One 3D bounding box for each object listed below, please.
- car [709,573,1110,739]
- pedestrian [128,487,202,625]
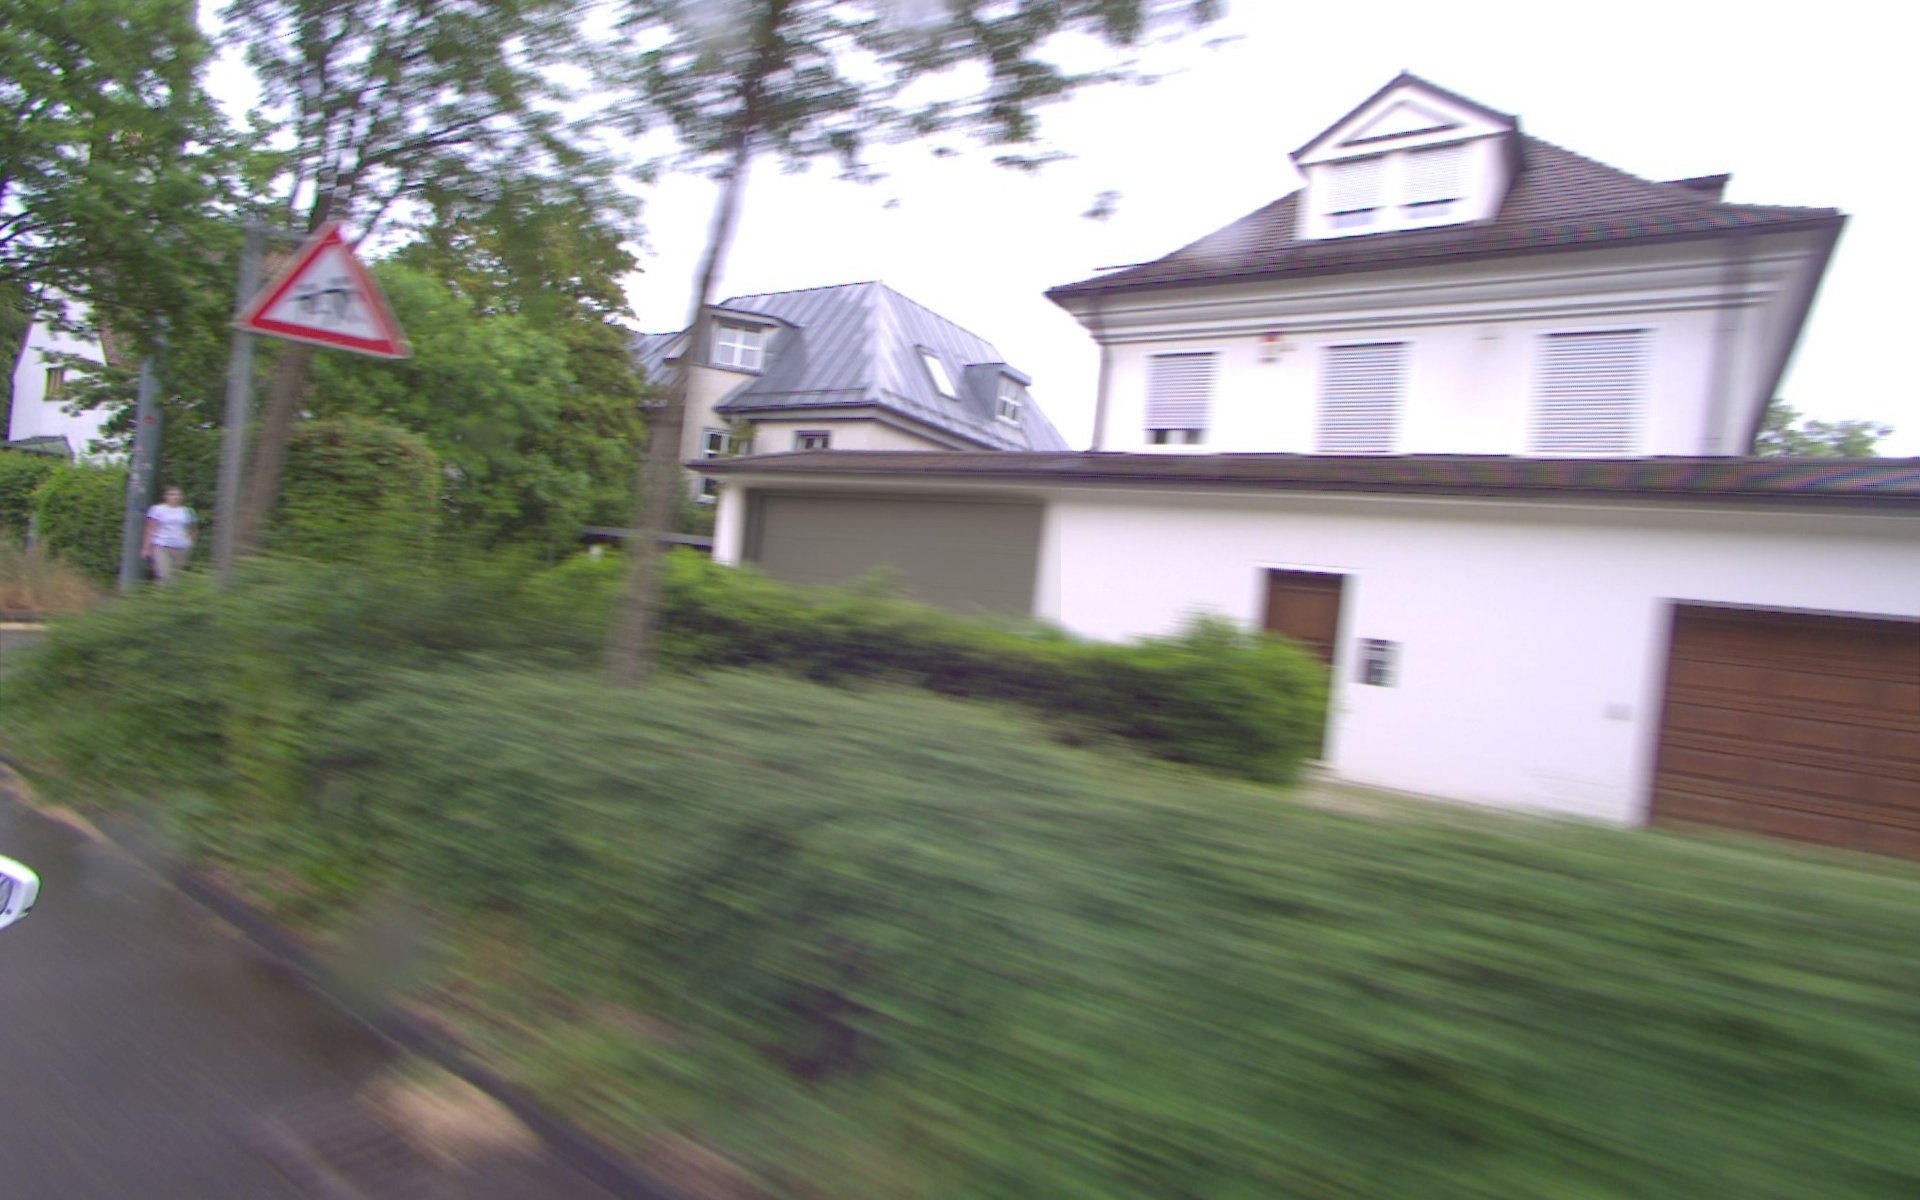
[{"bbox_3d":[-0.635,0.552,10.708,3.941,1.190,1.832,6,-2,38],"label":"car"},{"bbox_3d":[-10.497,-0.578,13.286,0.509,1.729,0.560,7,0,43],"label":"pedestrian"}]
